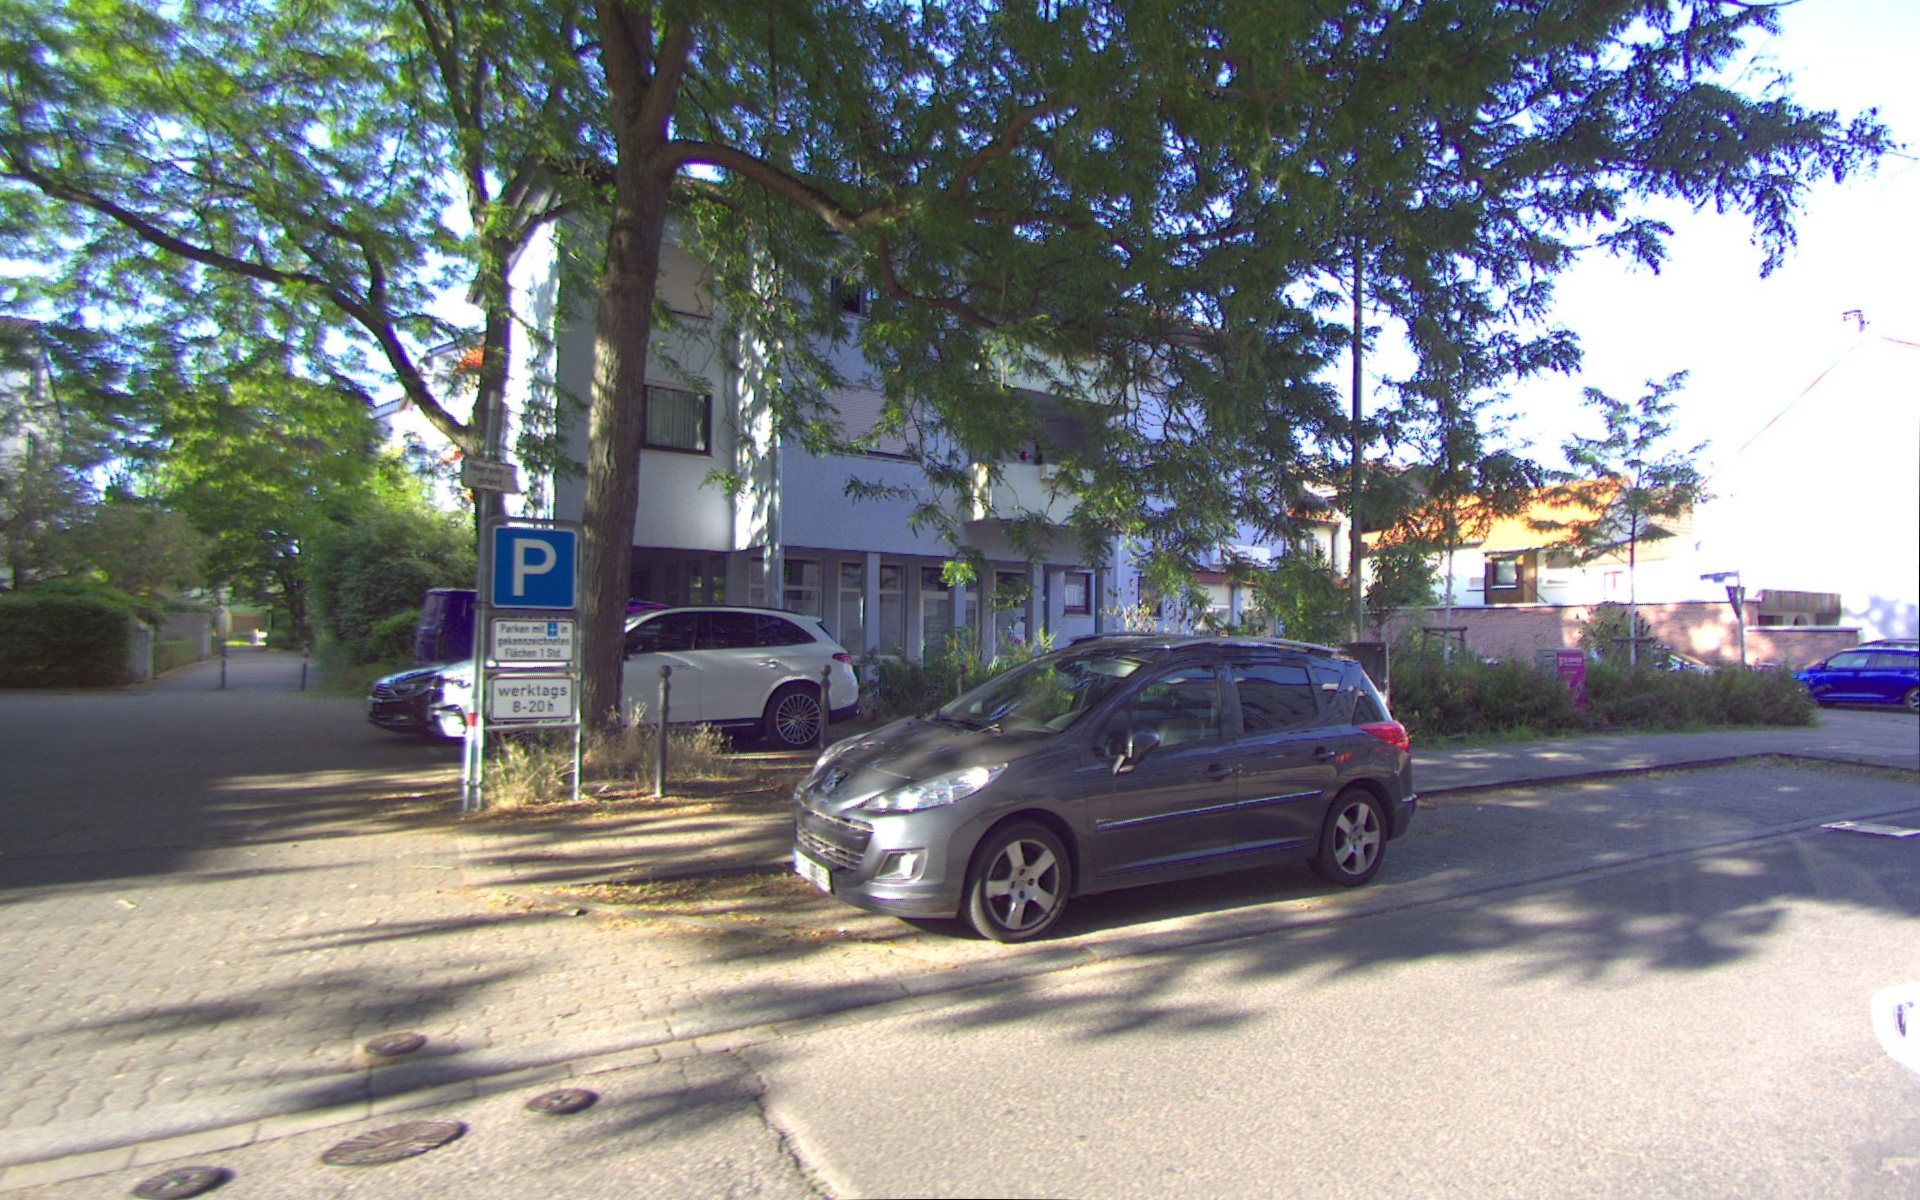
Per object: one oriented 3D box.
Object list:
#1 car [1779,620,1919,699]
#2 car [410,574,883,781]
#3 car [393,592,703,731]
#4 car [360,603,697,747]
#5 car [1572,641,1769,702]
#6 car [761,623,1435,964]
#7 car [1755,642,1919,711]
[{"bbox_3d":[24.801,1.562,26.653,1.961,1.819,4.348,-2,2,-26],"label":"car"},{"bbox_3d":[-3.438,0.787,11.438,4.853,1.920,1.833,1,-2,-33],"label":"car"},{"bbox_3d":[-6.637,0.958,16.446,4.290,1.973,2.000,2,-3,-41],"label":"car"},{"bbox_3d":[-5.590,0.910,13.074,3.767,1.596,2.063,2,-2,-32],"label":"car"},{"bbox_3d":[19.813,2.055,28.203,1.974,1.519,3.975,-1,-5,-27],"label":"car"},{"bbox_3d":[0.948,0.929,6.219,3.953,1.511,1.689,2,-2,-30],"label":"car"},{"bbox_3d":[21.910,1.805,24.256,1.974,1.550,3.755,0,-3,-27],"label":"car"}]
